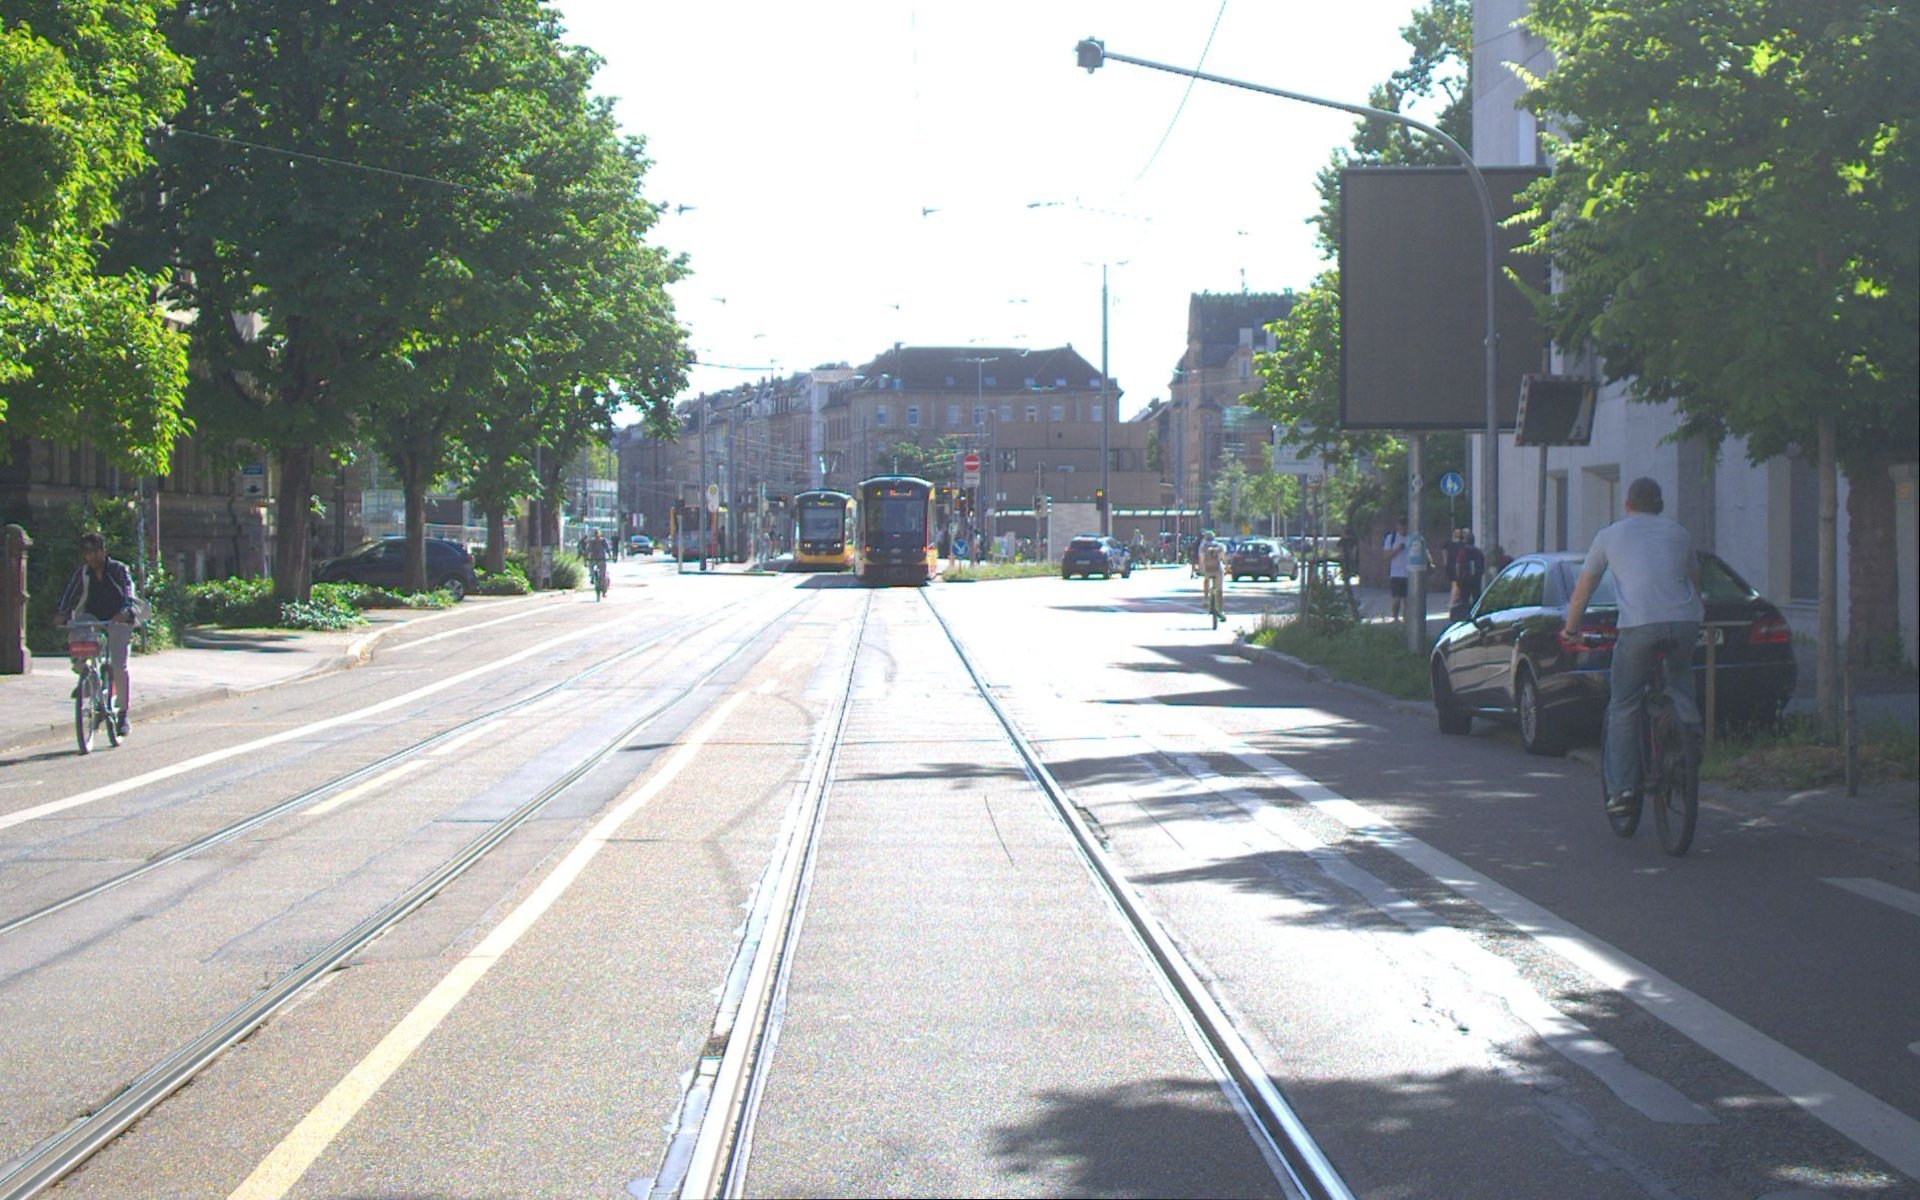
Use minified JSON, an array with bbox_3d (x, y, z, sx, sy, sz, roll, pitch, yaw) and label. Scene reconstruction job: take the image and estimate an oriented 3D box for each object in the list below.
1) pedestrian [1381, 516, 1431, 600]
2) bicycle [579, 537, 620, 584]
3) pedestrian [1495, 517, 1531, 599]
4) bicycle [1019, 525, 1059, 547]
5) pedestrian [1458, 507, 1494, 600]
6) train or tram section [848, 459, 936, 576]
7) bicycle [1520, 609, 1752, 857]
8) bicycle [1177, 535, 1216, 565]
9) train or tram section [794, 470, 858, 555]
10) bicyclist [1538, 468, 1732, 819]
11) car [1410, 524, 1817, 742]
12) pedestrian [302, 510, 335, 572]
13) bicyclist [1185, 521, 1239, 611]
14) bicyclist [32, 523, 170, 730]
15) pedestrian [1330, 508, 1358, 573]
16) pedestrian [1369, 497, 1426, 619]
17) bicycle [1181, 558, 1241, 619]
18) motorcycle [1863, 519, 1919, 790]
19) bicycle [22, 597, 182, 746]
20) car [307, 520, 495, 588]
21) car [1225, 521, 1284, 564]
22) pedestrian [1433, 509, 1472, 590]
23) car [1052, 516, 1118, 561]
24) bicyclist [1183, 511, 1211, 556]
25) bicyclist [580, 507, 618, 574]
[{"bbox_3d":[8.773,-0.817,67.615,0.857,1.635,0.993,-1,0,1],"label":"pedestrian"},{"bbox_3d":[-8.926,-0.995,85.230,0.687,1.120,1.931,-2,1,3],"label":"bicycle"},{"bbox_3d":[9.546,-0.723,59.398,0.518,1.399,0.764,0,1,2],"label":"pedestrian"},{"bbox_3d":[3.872,-3.147,169.108,1.933,1.099,0.599,0,2,-3],"label":"bicycle"},{"bbox_3d":[8.924,-0.808,59.484,0.518,1.595,0.764,0,1,2],"label":"pedestrian"},{"bbox_3d":[-2.339,-2.765,113.946,2.742,3.639,13.787,0,2,-2],"label":"train or tram section"},{"bbox_3d":[3.333,0.624,17.134,0.738,1.090,2.111,1,1,1],"label":"bicycle"},{"bbox_3d":[8.913,-1.890,129.588,0.706,1.051,2.311,3,3,24],"label":"bicycle"},{"bbox_3d":[-5.918,-3.934,153.275,2.742,3.639,13.787,0,2,-2],"label":"train or tram section"},{"bbox_3d":[3.340,0.201,17.081,0.738,1.680,0.972,1,1,1],"label":"bicyclist"},{"bbox_3d":[4.867,0.174,26.325,1.821,1.453,4.819,-2,1,-4],"label":"car"},{"bbox_3d":[-17.190,-1.585,92.128,0.700,1.629,0.759,2,1,-1],"label":"pedestrian"},{"bbox_3d":[4.773,-0.652,65.059,0.705,1.669,1.100,2,2,19],"label":"bicyclist"},{"bbox_3d":[-6.917,0.197,27.731,0.745,1.594,1.118,-3,1,0],"label":"bicyclist"},{"bbox_3d":[11.432,-1.786,102.434,0.637,1.897,1.134,-2,1,0],"label":"pedestrian"},{"bbox_3d":[6.717,-0.653,52.826,0.683,1.843,0.955,-2,1,-2],"label":"pedestrian"},{"bbox_3d":[4.759,-0.234,65.074,0.705,1.101,1.715,2,2,19],"label":"bicycle"},{"bbox_3d":[5.702,0.293,18.564,0.913,1.483,2.679,-2,1,0],"label":"motorcycle"},{"bbox_3d":[-6.899,0.558,27.735,0.745,1.078,1.899,-3,1,0],"label":"bicycle"},{"bbox_3d":[-13.223,-1.086,81.326,3.986,1.544,1.878,0,1,-28],"label":"car"},{"bbox_3d":[10.964,-2.143,127.771,1.790,1.506,3.711,1,2,10],"label":"car"},{"bbox_3d":[11.028,-1.134,76.965,0.648,1.757,0.955,-4,1,14],"label":"pedestrian"},{"bbox_3d":[4.628,-2.281,126.729,1.790,1.599,3.711,1,2,12],"label":"car"},{"bbox_3d":[8.926,-2.508,129.548,0.706,1.694,0.986,3,3,24],"label":"bicyclist"},{"bbox_3d":[-8.946,-1.479,85.202,0.687,1.639,1.237,-2,1,3],"label":"bicyclist"}]
